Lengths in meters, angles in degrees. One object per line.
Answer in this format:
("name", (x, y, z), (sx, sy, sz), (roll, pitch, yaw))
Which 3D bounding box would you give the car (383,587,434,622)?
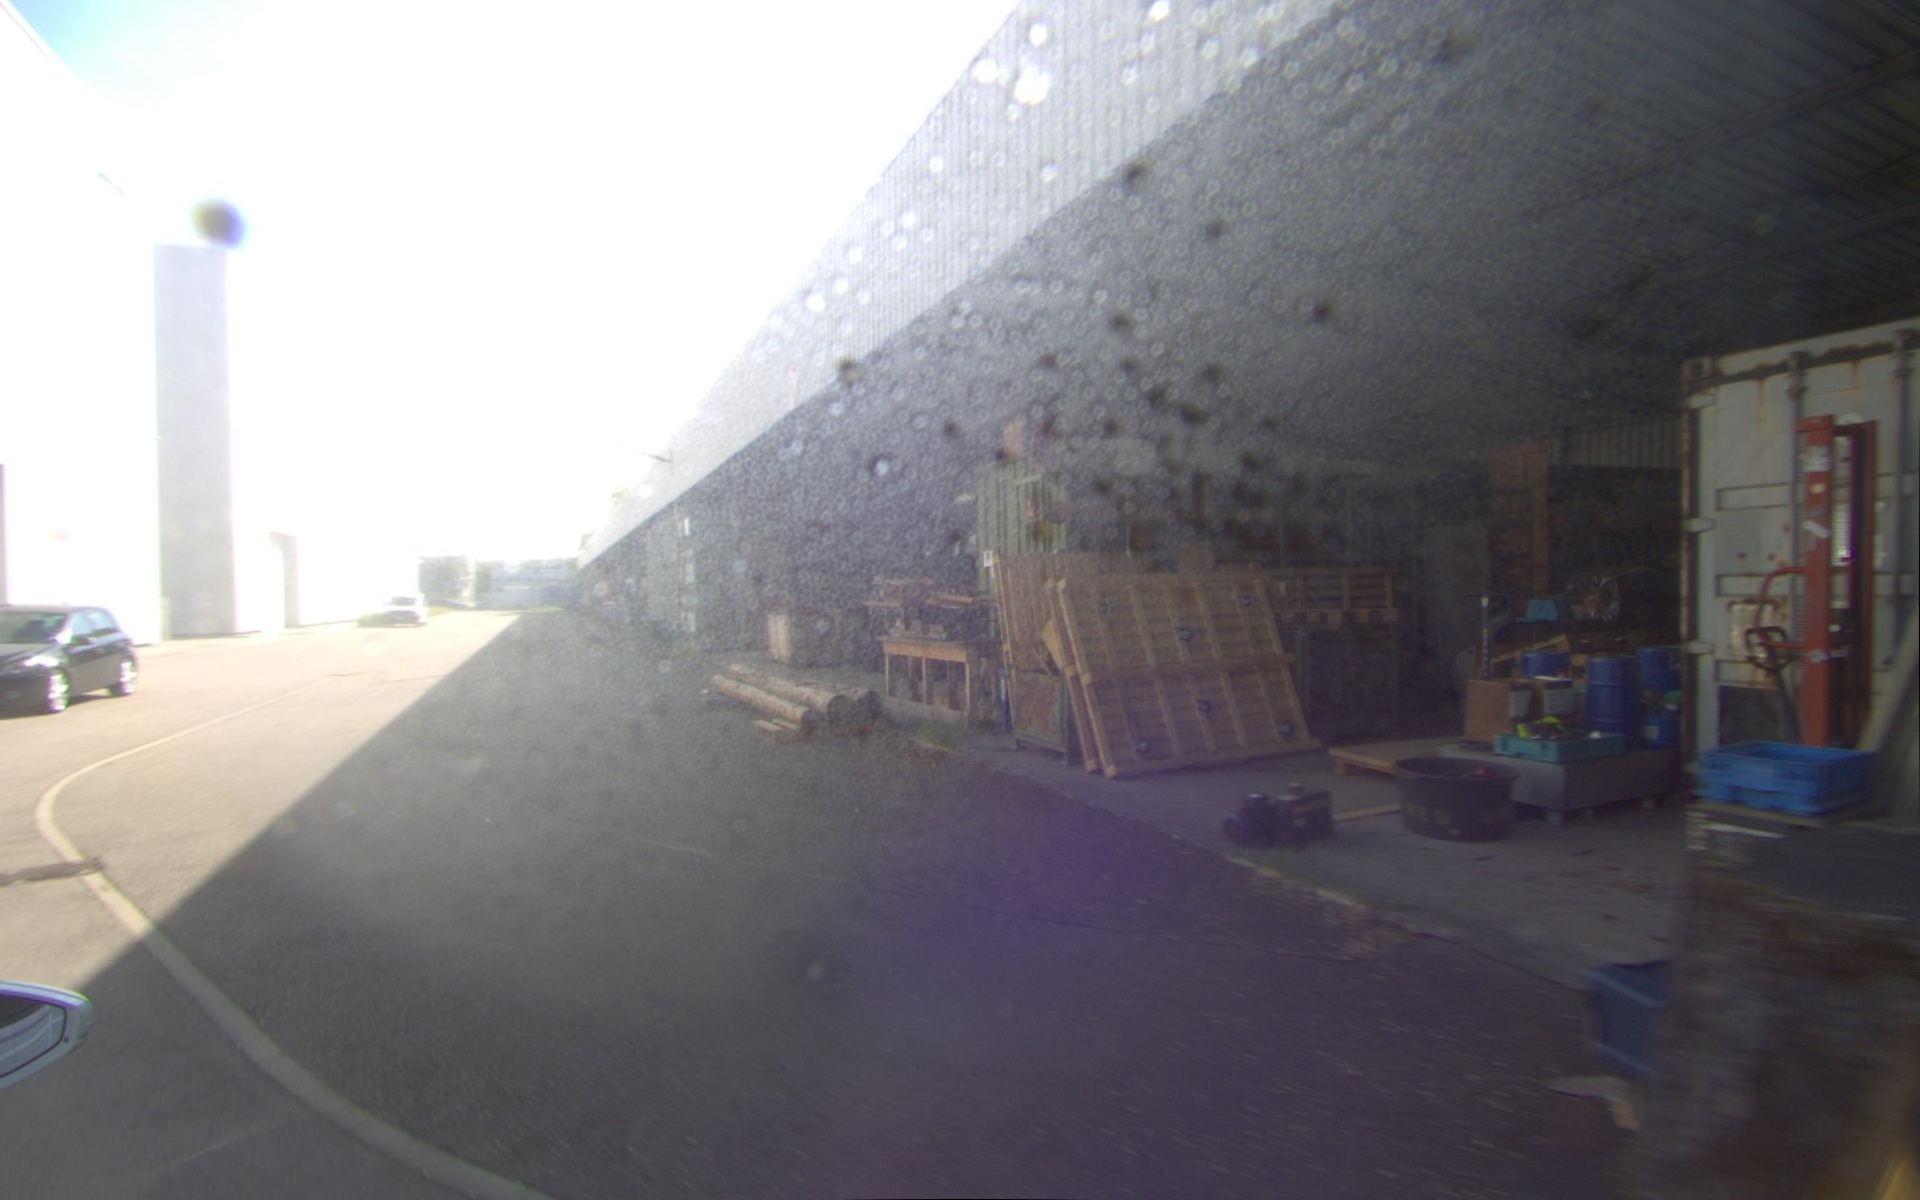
("car", (-29.908, 0.262, 54.409), (1.682, 1.779, 4.287), (2, 0, -20))

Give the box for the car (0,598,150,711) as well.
("car", (-13.703, 0.724, 14.773), (1.727, 1.436, 3.883), (2, -1, -24))

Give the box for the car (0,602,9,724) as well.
("car", (-11.803, 0.744, 10.280), (1.727, 1.492, 3.883), (2, -1, -24))

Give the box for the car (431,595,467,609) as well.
("car", (-65.610, 0.231, 128.569), (4.032, 1.799, 1.893), (-1, 1, -25))

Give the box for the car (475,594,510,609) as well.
("car", (-60.403, 0.203, 129.558), (4.032, 1.799, 1.893), (-1, 1, -25))

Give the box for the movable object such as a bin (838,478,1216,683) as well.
("movable object such as a bin", (1.121, -0.317, 16.878), (5.871, 2.991, 2.488), (-1, 1, -22))
